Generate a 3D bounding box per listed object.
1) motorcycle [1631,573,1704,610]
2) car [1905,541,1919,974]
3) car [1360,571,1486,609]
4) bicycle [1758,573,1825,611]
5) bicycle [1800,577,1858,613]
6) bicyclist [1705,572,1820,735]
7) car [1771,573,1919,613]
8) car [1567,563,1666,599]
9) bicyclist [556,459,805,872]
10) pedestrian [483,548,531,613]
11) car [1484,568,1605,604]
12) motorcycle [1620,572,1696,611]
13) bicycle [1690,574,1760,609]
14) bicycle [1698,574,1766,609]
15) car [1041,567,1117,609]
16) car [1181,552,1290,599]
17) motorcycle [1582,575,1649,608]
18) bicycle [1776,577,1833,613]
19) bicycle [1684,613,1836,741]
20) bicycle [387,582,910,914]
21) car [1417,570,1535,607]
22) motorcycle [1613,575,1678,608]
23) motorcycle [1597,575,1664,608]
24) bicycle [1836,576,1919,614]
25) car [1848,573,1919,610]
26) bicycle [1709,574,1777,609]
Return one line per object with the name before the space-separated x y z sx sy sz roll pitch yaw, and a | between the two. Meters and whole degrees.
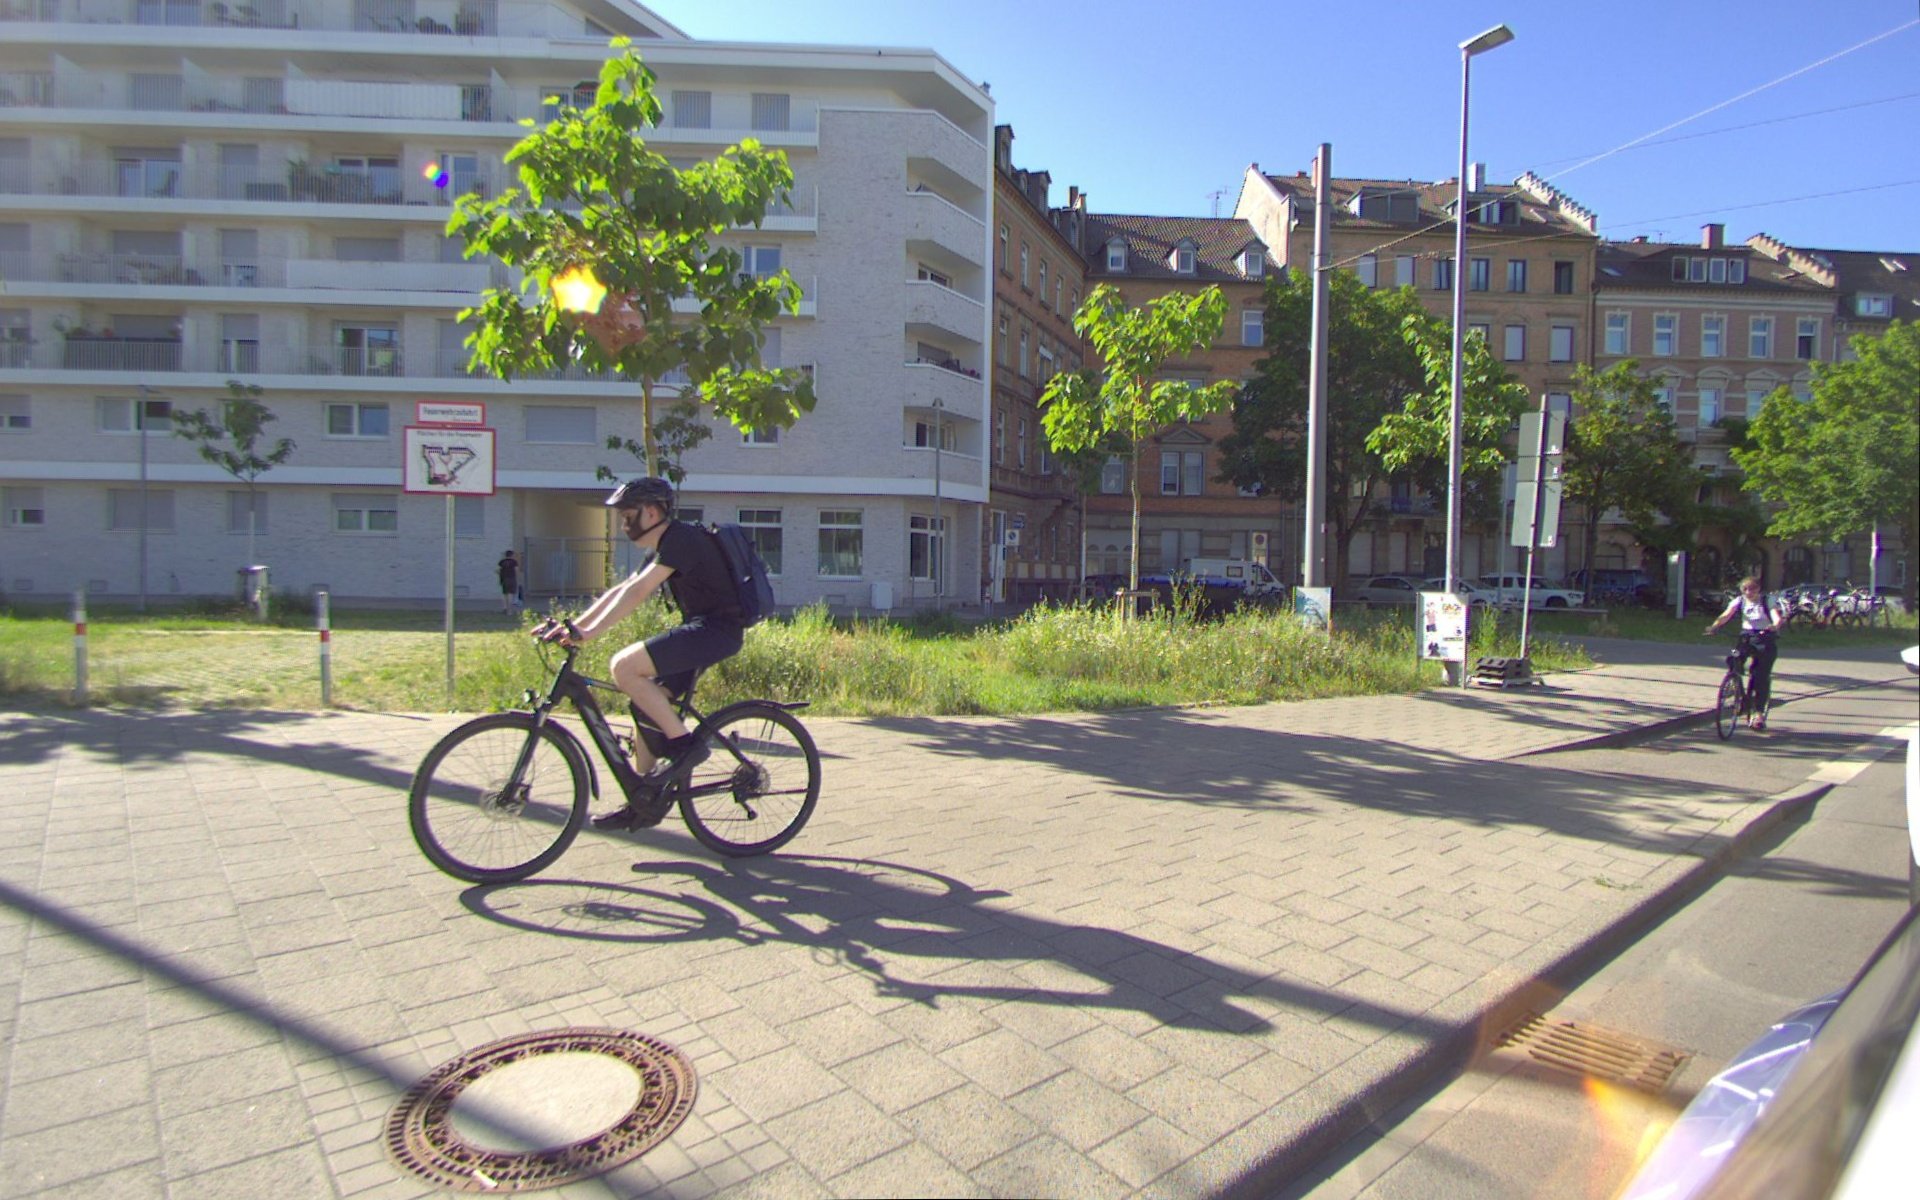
motorcycle | 26.155 -0.323 37.473 0.649 1.339 2.208 0 0 -23
car | 5.873 0.607 4.719 4.323 1.667 1.840 0 0 -43
car | 17.350 -0.425 38.111 1.648 1.267 4.170 0 3 -28
bicycle | 29.275 -0.294 35.678 0.651 1.284 2.202 0 0 4
bicycle | 32.036 -0.195 37.339 0.653 1.284 2.196 0 0 12
bicyclist | 8.553 0.529 10.790 0.952 1.649 0.669 0 1 -33
car | 34.686 -0.323 39.598 1.651 1.423 4.324 -1 3 -38
car | 30.875 -0.924 47.655 3.631 1.607 1.552 1 2 0
bicyclist | -1.262 0.253 4.543 0.952 1.649 0.632 0 1 -29
pedestrian | -12.312 -0.535 27.522 0.829 1.717 0.985 2 2 2
car | 22.330 -0.581 38.778 1.513 1.267 3.700 -1 3 -39
motorcycle | 25.339 -0.308 36.784 0.650 1.347 2.207 0 0 -28
bicycle | 28.371 -0.312 37.570 0.649 1.284 2.208 0 0 -11
bicycle | 29.082 -0.322 38.157 0.649 1.284 2.208 0 0 -9
car | 4.567 -0.508 38.300 1.811 1.444 4.359 1 2 21
car | 12.661 -1.158 46.786 4.416 2.062 2.054 1 2 0
motorcycle | 26.027 -0.331 40.230 0.649 1.293 2.324 0 0 -18
bicycle | 30.942 -0.187 37.116 0.653 1.284 2.196 0 0 12
bicycle | 8.576 0.765 10.819 2.113 1.212 0.669 0 1 -34
bicycle | -1.318 0.538 4.491 2.110 1.212 0.639 0 1 -28
car | 19.673 -0.470 38.721 1.648 1.267 3.709 0 3 -28
motorcycle | 27.489 -0.337 40.616 0.649 1.284 2.209 0 0 -18
motorcycle | 26.698 -0.339 40.362 0.649 1.300 2.324 0 0 -18
bicycle | 31.631 -0.168 34.769 2.180 1.284 0.657 0 0 25
car | 37.823 -0.331 39.968 1.649 1.423 3.832 -1 3 -32
bicycle | 29.725 -0.328 38.468 0.649 1.284 2.208 0 0 -9
